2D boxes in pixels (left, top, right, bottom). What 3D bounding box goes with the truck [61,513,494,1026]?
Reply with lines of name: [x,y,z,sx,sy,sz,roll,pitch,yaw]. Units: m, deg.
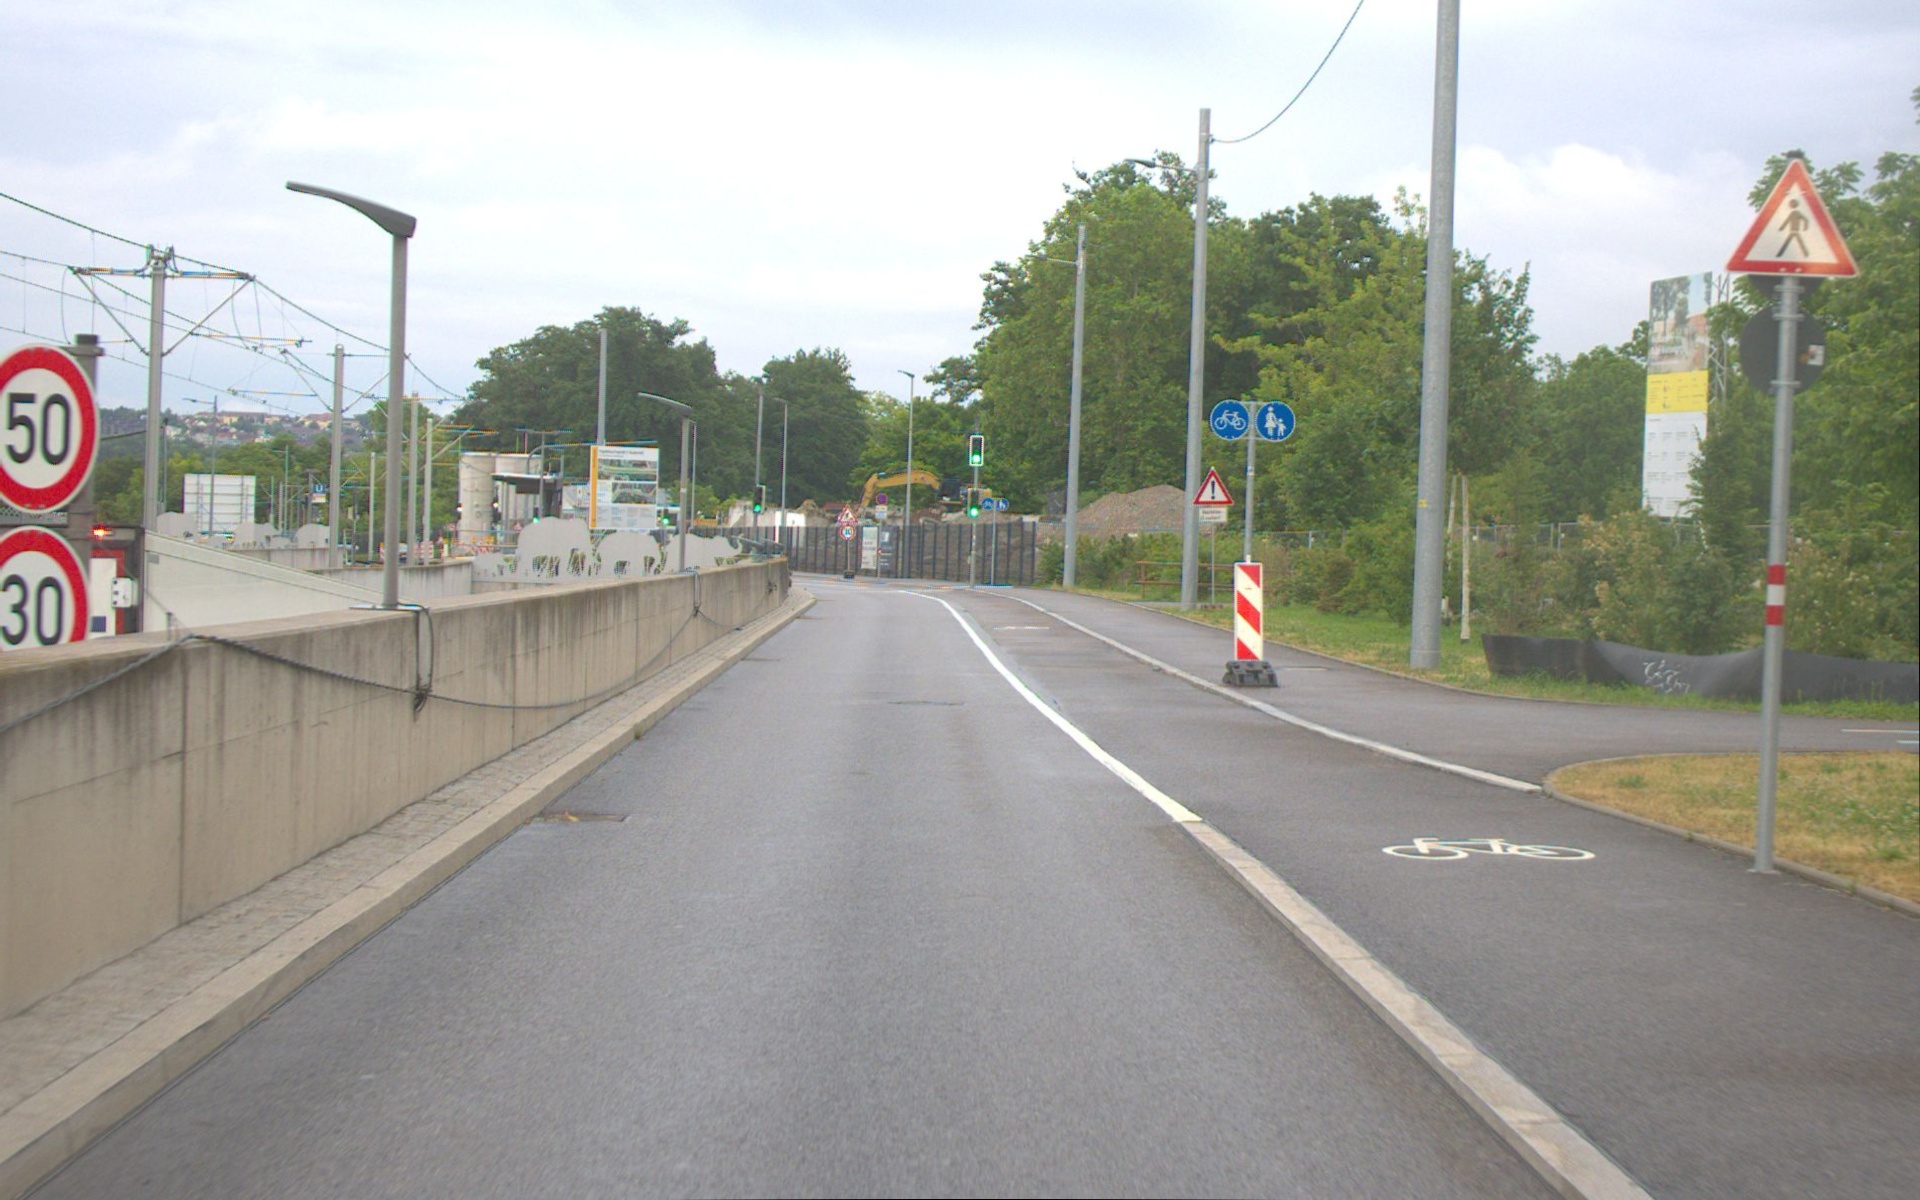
truck: [-6.013,1.326,31.295,2.756,4.190,6.307,0,1,-1]

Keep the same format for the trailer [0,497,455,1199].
trailer: [-5.955,1.435,24.987,2.762,4.238,13.184,0,1,-1]
